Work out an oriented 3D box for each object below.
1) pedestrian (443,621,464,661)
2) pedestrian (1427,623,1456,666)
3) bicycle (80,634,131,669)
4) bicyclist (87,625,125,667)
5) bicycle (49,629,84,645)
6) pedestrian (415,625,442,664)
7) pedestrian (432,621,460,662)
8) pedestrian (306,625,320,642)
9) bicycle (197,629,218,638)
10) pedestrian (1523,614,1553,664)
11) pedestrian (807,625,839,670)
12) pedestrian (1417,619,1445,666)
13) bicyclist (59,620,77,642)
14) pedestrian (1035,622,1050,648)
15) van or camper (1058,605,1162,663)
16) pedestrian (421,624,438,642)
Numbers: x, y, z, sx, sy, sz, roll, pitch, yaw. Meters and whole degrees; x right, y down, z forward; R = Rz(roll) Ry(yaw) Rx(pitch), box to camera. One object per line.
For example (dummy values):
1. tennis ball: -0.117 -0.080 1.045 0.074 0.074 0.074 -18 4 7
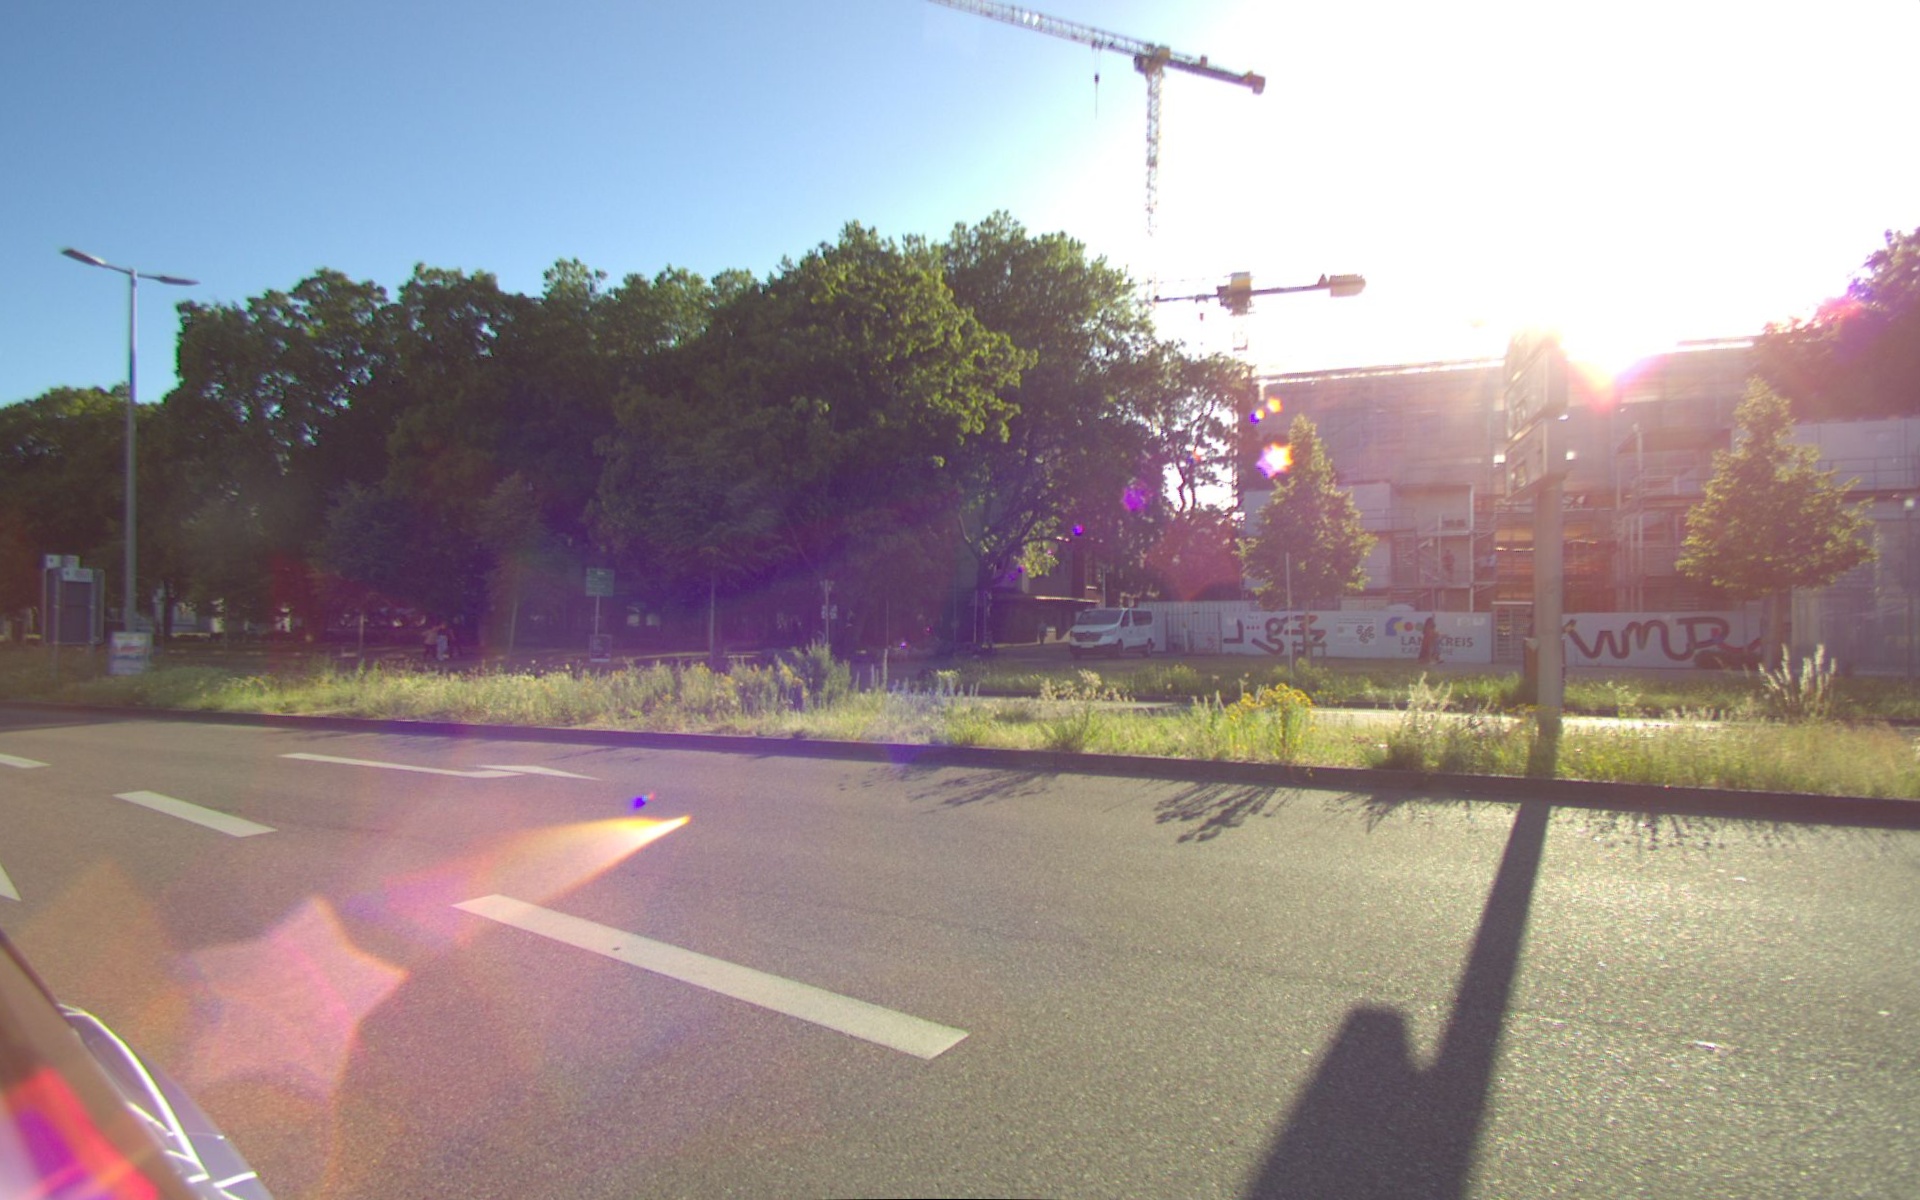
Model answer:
1. pedestrian: -22.109 1.788 44.157 0.652 1.754 0.520 -1 -2 30
2. pedestrian: 16.010 1.476 33.640 0.831 1.388 0.576 -1 -2 25
3. bicycle: -34.294 2.056 40.611 2.248 1.285 0.753 1 -1 28
4. bicyclist: -34.270 1.838 40.603 1.197 1.602 0.742 1 -1 29
5. bicycle: -74.297 3.083 84.162 0.774 1.249 2.003 1 -1 26
6. pedestrian: -22.489 1.867 42.857 0.723 1.653 0.737 -1 -2 30
7. pedestrian: -22.119 1.786 43.549 0.758 1.754 0.766 -1 -2 30
8. pedestrian: -52.191 2.688 81.598 0.597 1.350 0.726 -1 -2 29
9. bicycle: -68.662 3.053 92.354 1.593 0.896 0.765 0 -2 19
10. pedestrian: 19.787 1.328 34.660 0.831 1.701 0.576 -1 -2 25
11. pedestrian: -4.832 1.667 35.624 0.939 1.539 0.608 -1 -2 32
12. pedestrian: 16.111 1.446 34.620 0.831 1.570 0.576 -1 -2 25
13. bicyclist: -74.266 2.575 84.235 0.751 1.756 0.831 1 -1 26
14. pedestrian: 5.344 2.287 65.843 0.742 1.653 0.718 -1 -2 32
15. van or camper: 5.931 1.308 39.357 2.247 2.029 5.627 1 -1 28
16. pedestrian: -39.144 2.445 74.709 0.662 1.350 0.899 -1 -2 29
